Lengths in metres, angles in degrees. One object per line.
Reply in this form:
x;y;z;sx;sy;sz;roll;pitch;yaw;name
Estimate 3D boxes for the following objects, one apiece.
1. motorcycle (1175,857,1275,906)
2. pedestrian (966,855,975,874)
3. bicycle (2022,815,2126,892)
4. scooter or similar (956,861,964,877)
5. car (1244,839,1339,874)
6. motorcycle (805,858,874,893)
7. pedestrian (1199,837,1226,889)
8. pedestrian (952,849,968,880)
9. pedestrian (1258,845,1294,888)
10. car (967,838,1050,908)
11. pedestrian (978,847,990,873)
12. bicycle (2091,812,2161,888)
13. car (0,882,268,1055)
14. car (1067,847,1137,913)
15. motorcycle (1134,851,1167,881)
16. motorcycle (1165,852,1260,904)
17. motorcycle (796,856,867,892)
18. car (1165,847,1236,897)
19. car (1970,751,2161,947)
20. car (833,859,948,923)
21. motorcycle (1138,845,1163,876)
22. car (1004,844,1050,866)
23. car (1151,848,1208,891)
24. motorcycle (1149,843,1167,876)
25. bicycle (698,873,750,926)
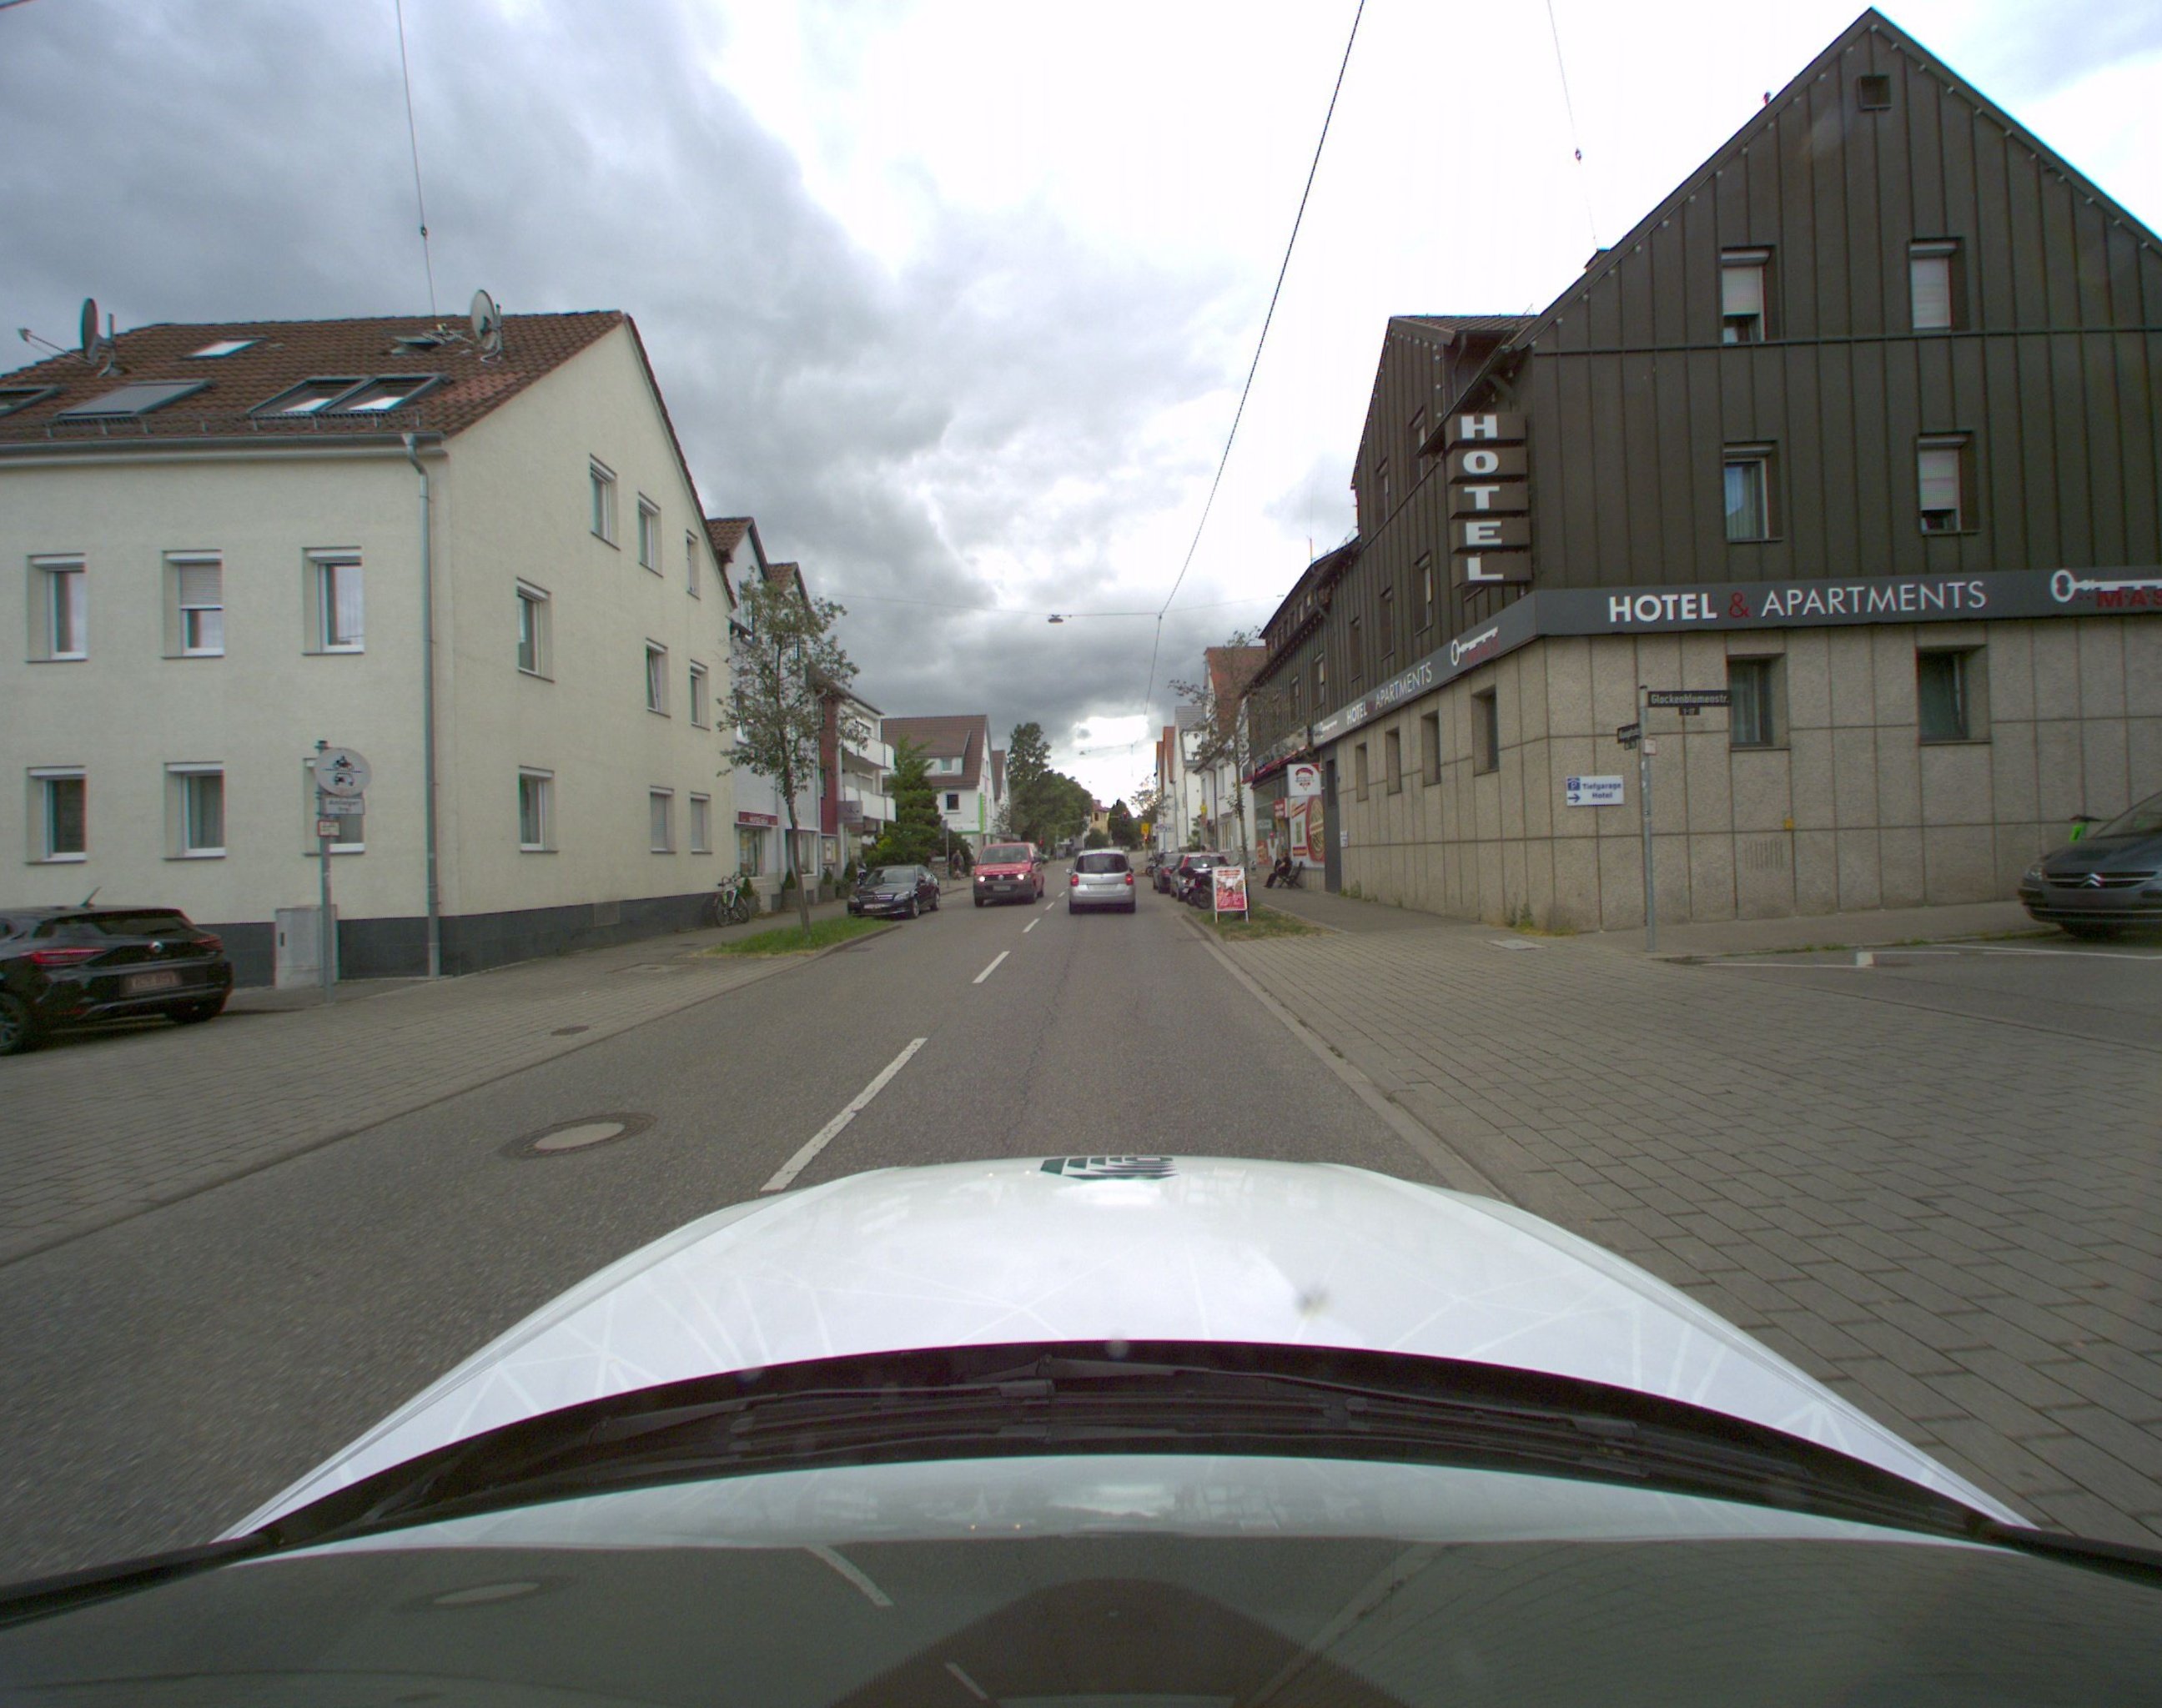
3.774;0.695;21.250;2.744;1.183;0.693;-1;0;-29;motorcycle
-7.569;0.695;55.925;0.490;1.278;0.588;-1;0;1;pedestrian
13.435;-0.011;11.035;0.603;0.973;0.631;-4;0;1;bicycle
-7.710;0.960;51.788;0.372;1.034;0.560;-2;0;1;scooter or similar
9.672;0.124;37.634;3.965;1.566;1.689;-1;0;1;car
-10.184;0.913;34.392;2.706;1.409;0.698;-1;0;-8;motorcycle
4.895;0.330;30.358;0.853;1.928;0.900;-1;0;1;pedestrian
-7.146;0.620;48.136;0.760;1.791;0.890;-1;0;1;pedestrian
6.498;0.407;27.148;0.884;1.300;0.967;-5;0;2;pedestrian
-2.251;0.565;26.840;1.941;1.961;5.225;-4;0;2;car
-6.927;0.430;58.345;0.759;1.876;0.696;-1;0;1;pedestrian
14.382;-0.065;11.023;0.603;0.973;0.631;-4;0;1;bicycle
-11.516;1.231;8.598;3.975;1.534;1.734;-4;0;-1;car
0.581;0.625;21.531;1.676;1.566;3.995;-1;0;2;car
3.425;0.585;39.914;0.691;1.409;2.732;-1;0;26;motorcycle
3.627;0.620;22.299;2.723;1.336;0.693;-1;0;-29;motorcycle
-10.263;0.818;33.577;2.706;1.409;0.698;-1;0;-8;motorcycle
3.647;0.522;25.449;1.694;1.429;3.891;-1;0;1;car
12.493;-0.179;8.431;4.467;1.866;1.929;-4;0;-1;car
-5.193;0.949;22.902;1.941;1.467;4.518;-4;0;2;car
3.863;0.352;45.303;0.698;1.639;2.399;-1;0;-12;motorcycle
-7.245;0.118;109.885;5.911;2.907;2.254;-1;0;-1;car
3.587;0.539;30.263;1.694;1.467;4.240;-1;0;1;car
4.038;0.270;42.621;0.693;1.639;2.417;-1;0;11;motorcycle
-8.338;1.035;19.089;0.513;1.153;1.665;-1;0;-1;bicycle
